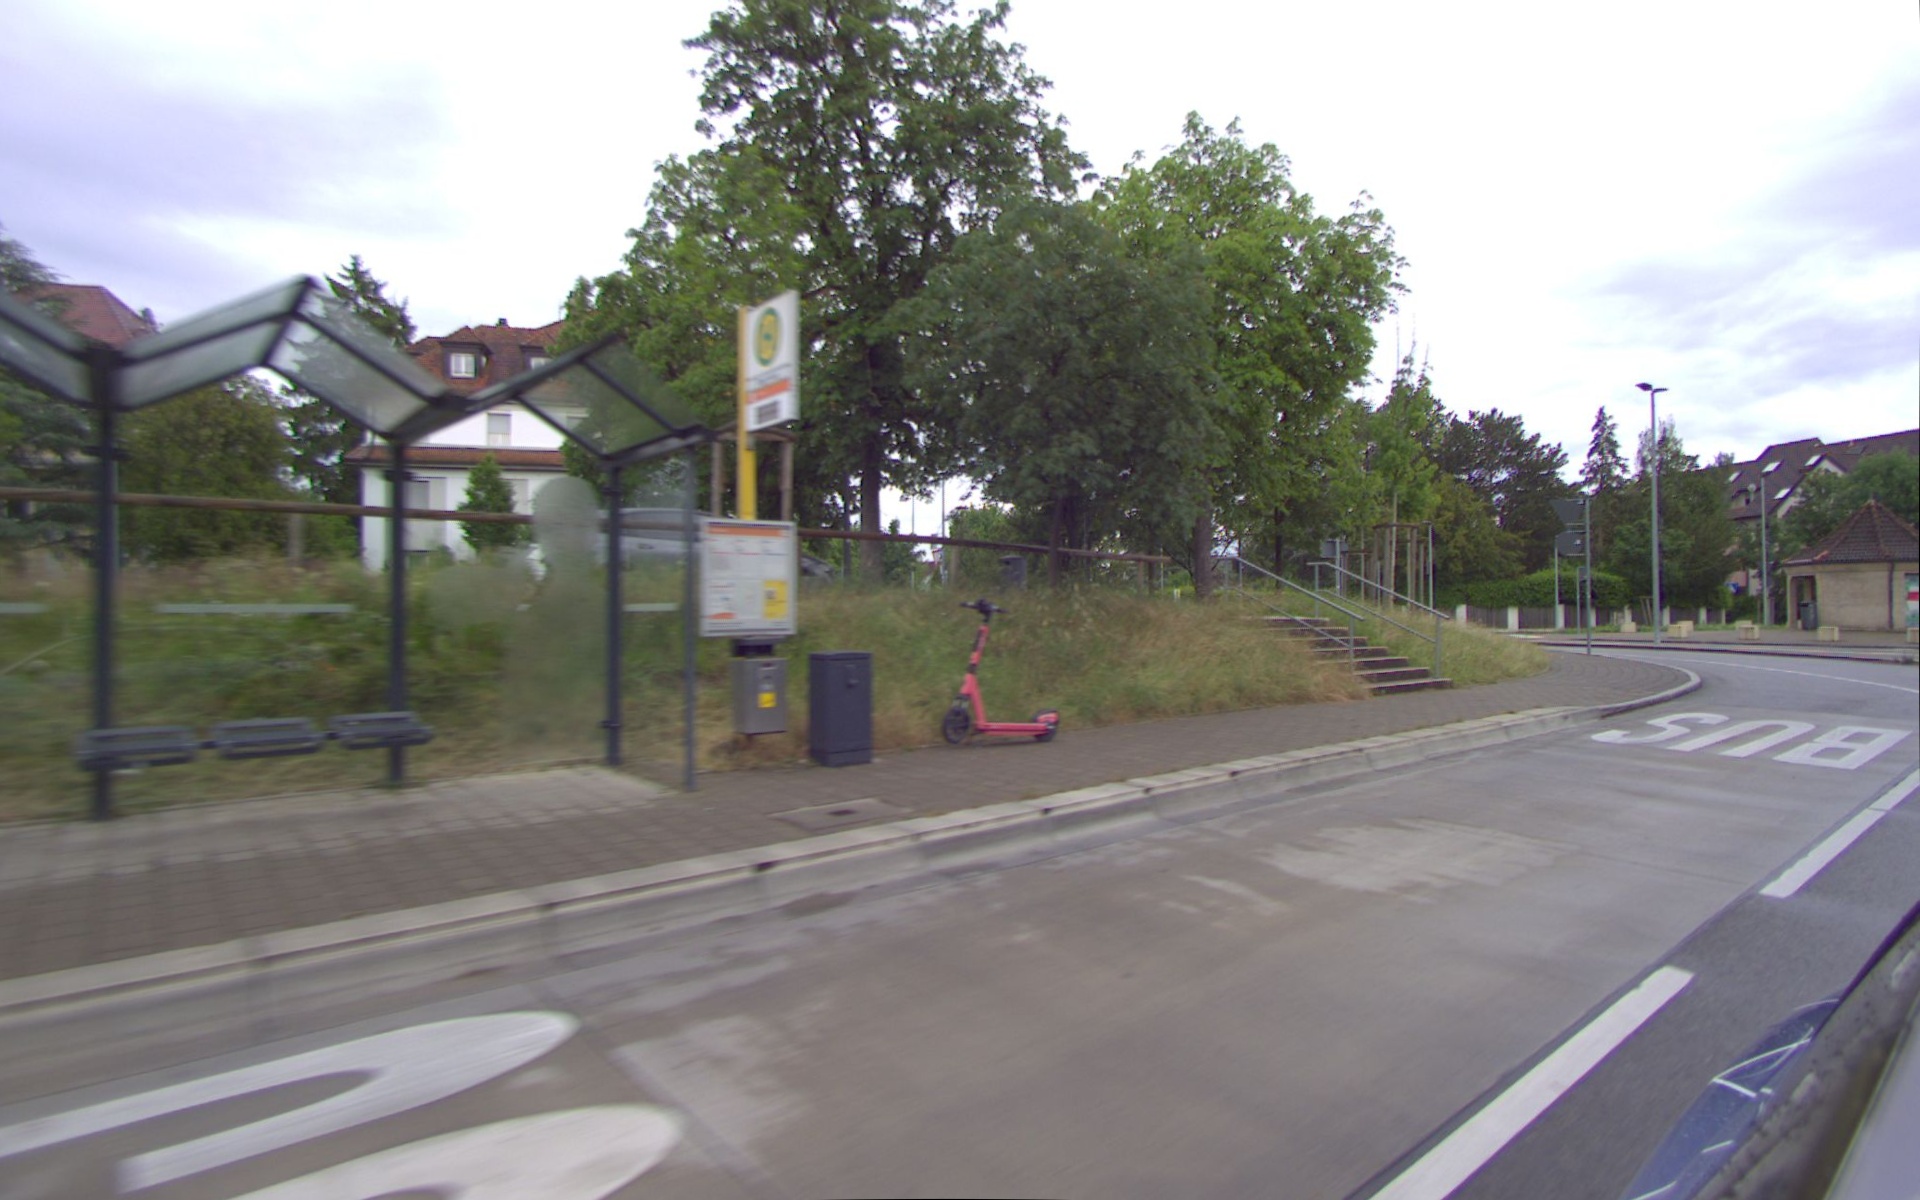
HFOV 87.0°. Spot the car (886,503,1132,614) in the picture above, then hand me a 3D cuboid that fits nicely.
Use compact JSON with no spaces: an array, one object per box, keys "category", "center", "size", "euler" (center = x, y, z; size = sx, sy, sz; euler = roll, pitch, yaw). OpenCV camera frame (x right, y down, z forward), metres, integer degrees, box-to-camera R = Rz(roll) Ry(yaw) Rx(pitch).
[{"category":"car","center":[0.895,-0.650,17.973],"size":[3.923,1.684,1.999],"euler":[0,-3,-35]}]

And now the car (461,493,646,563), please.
[{"category":"car","center":[-10.261,-1.758,25.630],"size":[3.992,1.499,1.891],"euler":[-1,-2,-35]}]

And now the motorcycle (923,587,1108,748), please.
[{"category":"motorcycle","center":[0.483,0.548,8.805],"size":[1.506,1.305,0.592],"euler":[0,0,-25]}]

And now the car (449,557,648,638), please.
[{"category":"car","center":[-9.481,-0.023,23.371],"size":[3.923,1.684,1.999],"euler":[0,-3,-35]}]

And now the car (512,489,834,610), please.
[{"category":"car","center":[-4.233,-0.691,15.096],"size":[4.202,1.499,2.000],"euler":[-1,-2,-34]}]

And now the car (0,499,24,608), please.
[{"category":"car","center":[-15.630,-0.636,13.749],"size":[3.990,1.499,1.891],"euler":[-1,-2,-33]}]
